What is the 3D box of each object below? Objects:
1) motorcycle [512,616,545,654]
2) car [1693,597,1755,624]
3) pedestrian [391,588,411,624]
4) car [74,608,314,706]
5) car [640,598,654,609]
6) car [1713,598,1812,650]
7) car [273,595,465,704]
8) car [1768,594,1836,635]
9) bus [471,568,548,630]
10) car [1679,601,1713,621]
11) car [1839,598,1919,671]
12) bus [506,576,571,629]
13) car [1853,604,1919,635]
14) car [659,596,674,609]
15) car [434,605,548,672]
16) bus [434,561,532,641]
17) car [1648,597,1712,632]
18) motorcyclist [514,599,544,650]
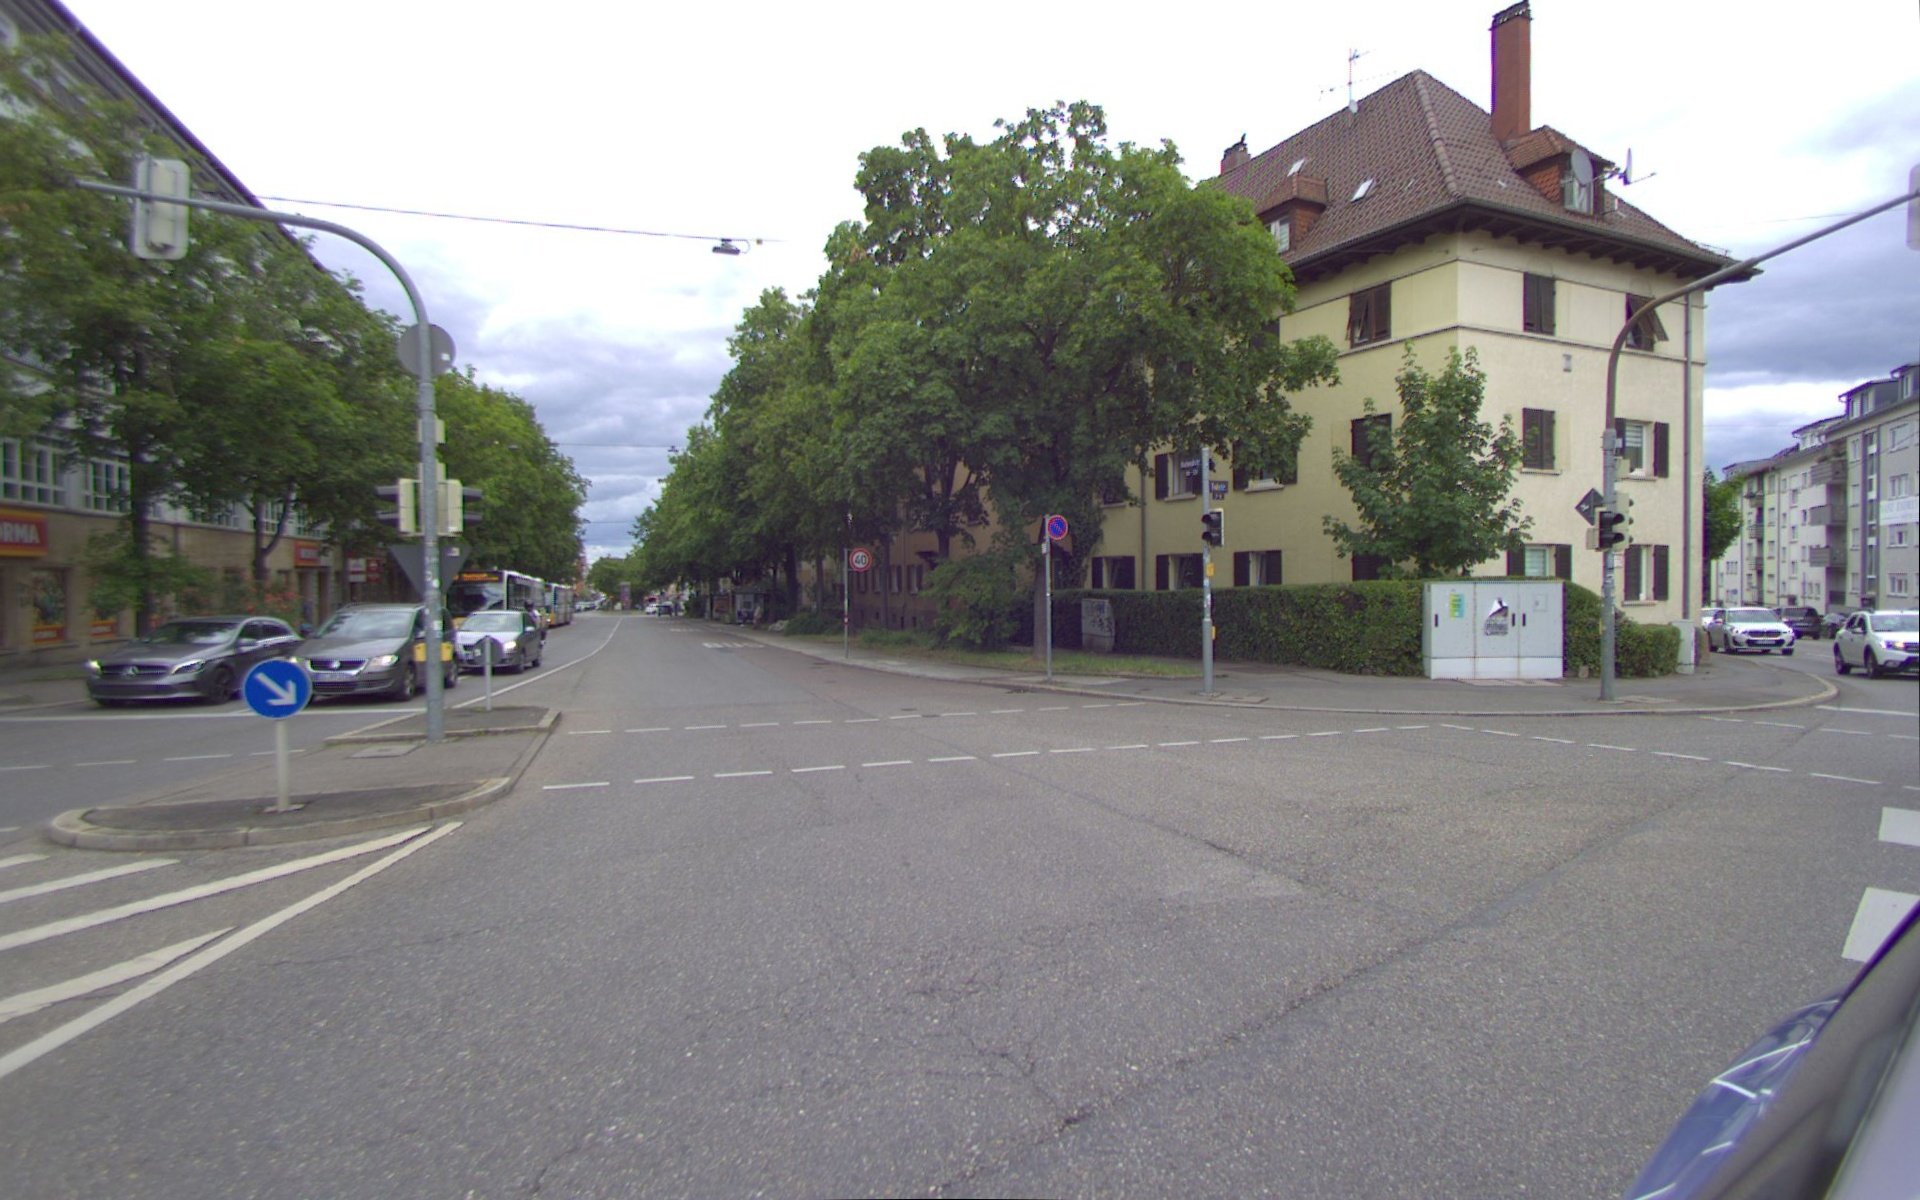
[{"bbox_3d":[-12.309,0.983,28.921,0.625,1.000,2.402,0,0,-17],"label":"motorcycle"},{"bbox_3d":[41.740,0.577,55.382,1.864,1.372,4.109,-1,0,26],"label":"car"},{"bbox_3d":[-29.998,0.315,54.320,0.733,1.937,0.811,0,0,-16],"label":"pedestrian"},{"bbox_3d":[-13.144,0.894,17.714,1.674,1.442,4.206,0,0,-11],"label":"car"},{"bbox_3d":[-47.223,0.547,152.626,1.958,1.661,4.008,0,0,-16],"label":"car"},{"bbox_3d":[27.873,0.794,35.293,1.882,1.666,3.962,-2,-1,27],"label":"car"},{"bbox_3d":[-10.322,0.766,18.038,1.674,1.659,4.206,-1,0,-11],"label":"car"},{"bbox_3d":[43.882,0.731,52.834,1.982,2.039,3.959,0,0,29],"label":"car"},{"bbox_3d":[-24.617,-0.055,55.762,2.819,3.088,10.953,0,0,-19],"label":"bus"},{"bbox_3d":[56.525,0.819,77.743,1.588,1.465,3.496,1,1,27],"label":"car"},{"bbox_3d":[21.481,0.723,22.684,1.885,1.529,4.122,-1,0,30],"label":"car"},{"bbox_3d":[-29.652,0.158,71.716,3.373,3.384,12.862,0,0,-19],"label":"bus"},{"bbox_3d":[46.594,0.958,50.652,1.757,1.428,3.657,2,1,24],"label":"car"},{"bbox_3d":[-38.889,0.323,134.073,1.958,1.661,4.008,0,0,-16],"label":"car"},{"bbox_3d":[-11.062,0.849,24.106,1.630,1.439,3.798,0,0,-11],"label":"car"},{"bbox_3d":[-21.233,0.031,45.613,2.803,3.148,10.423,0,0,-19],"label":"bus"},{"bbox_3d":[34.952,0.644,49.207,1.881,1.601,3.964,0,0,26],"label":"car"},{"bbox_3d":[-12.329,0.686,28.981,0.694,1.436,1.012,0,0,-17],"label":"motorcyclist"}]
